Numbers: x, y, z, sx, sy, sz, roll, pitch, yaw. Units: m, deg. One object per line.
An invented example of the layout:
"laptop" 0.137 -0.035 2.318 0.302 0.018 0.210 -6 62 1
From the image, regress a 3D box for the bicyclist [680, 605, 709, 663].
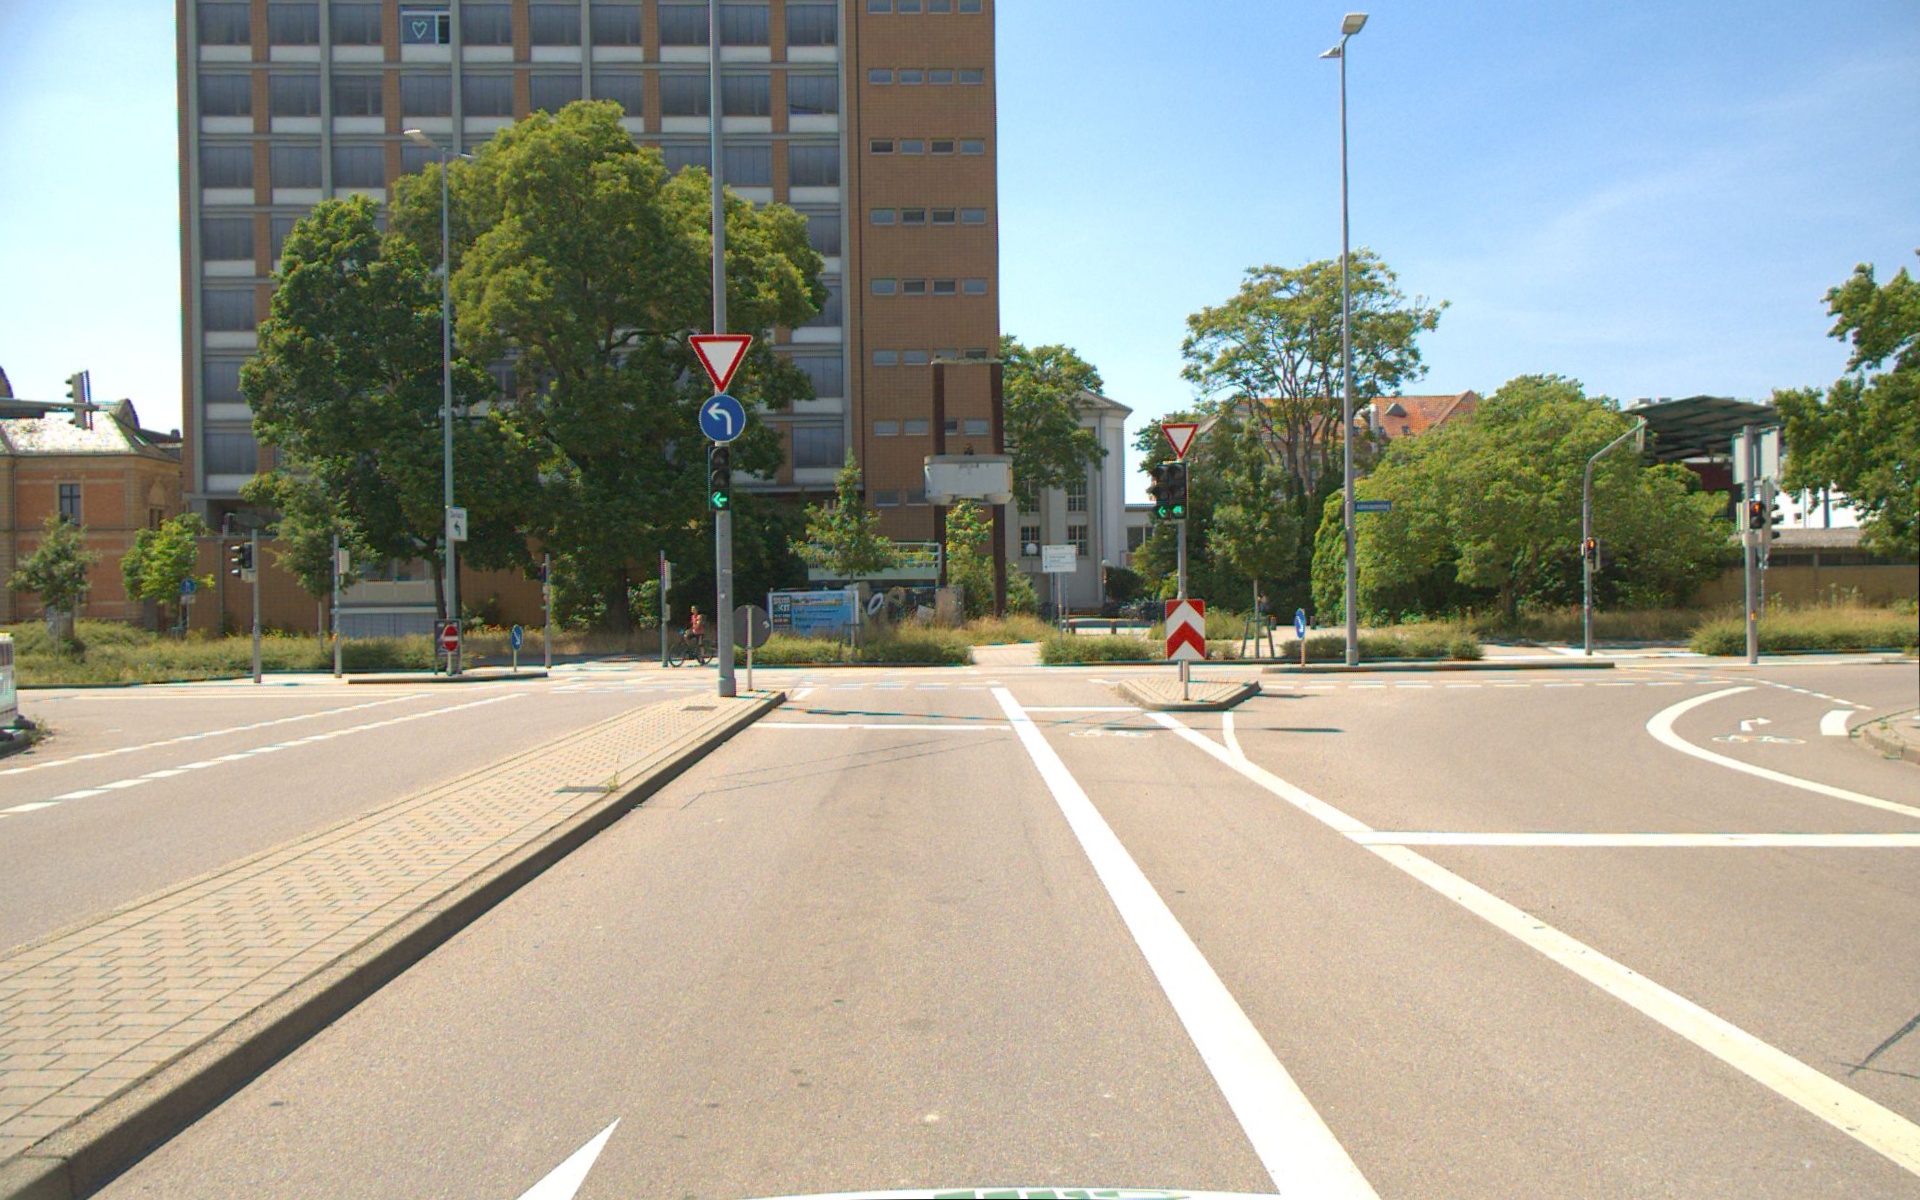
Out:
"bicyclist" -8.204 1.040 51.133 0.541 1.745 0.699 1 1 40

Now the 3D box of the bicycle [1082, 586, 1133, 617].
"bicycle" 10.013 0.109 112.612 3.376 2.049 0.760 1 0 1

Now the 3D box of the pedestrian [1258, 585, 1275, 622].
"pedestrian" 14.311 0.157 77.195 0.626 1.694 0.706 1 0 -2

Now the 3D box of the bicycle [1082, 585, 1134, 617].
"bicycle" 9.835 0.070 110.261 3.376 2.049 0.760 1 0 1

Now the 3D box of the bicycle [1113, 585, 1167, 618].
"bicycle" 11.548 0.090 106.133 3.376 2.049 0.760 1 0 1

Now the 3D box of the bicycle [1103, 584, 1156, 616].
"bicycle" 11.064 -0.005 108.086 3.376 2.049 0.760 1 0 1

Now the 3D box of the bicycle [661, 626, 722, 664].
"bicycle" -8.265 1.385 50.971 0.548 1.063 1.986 0 1 40
